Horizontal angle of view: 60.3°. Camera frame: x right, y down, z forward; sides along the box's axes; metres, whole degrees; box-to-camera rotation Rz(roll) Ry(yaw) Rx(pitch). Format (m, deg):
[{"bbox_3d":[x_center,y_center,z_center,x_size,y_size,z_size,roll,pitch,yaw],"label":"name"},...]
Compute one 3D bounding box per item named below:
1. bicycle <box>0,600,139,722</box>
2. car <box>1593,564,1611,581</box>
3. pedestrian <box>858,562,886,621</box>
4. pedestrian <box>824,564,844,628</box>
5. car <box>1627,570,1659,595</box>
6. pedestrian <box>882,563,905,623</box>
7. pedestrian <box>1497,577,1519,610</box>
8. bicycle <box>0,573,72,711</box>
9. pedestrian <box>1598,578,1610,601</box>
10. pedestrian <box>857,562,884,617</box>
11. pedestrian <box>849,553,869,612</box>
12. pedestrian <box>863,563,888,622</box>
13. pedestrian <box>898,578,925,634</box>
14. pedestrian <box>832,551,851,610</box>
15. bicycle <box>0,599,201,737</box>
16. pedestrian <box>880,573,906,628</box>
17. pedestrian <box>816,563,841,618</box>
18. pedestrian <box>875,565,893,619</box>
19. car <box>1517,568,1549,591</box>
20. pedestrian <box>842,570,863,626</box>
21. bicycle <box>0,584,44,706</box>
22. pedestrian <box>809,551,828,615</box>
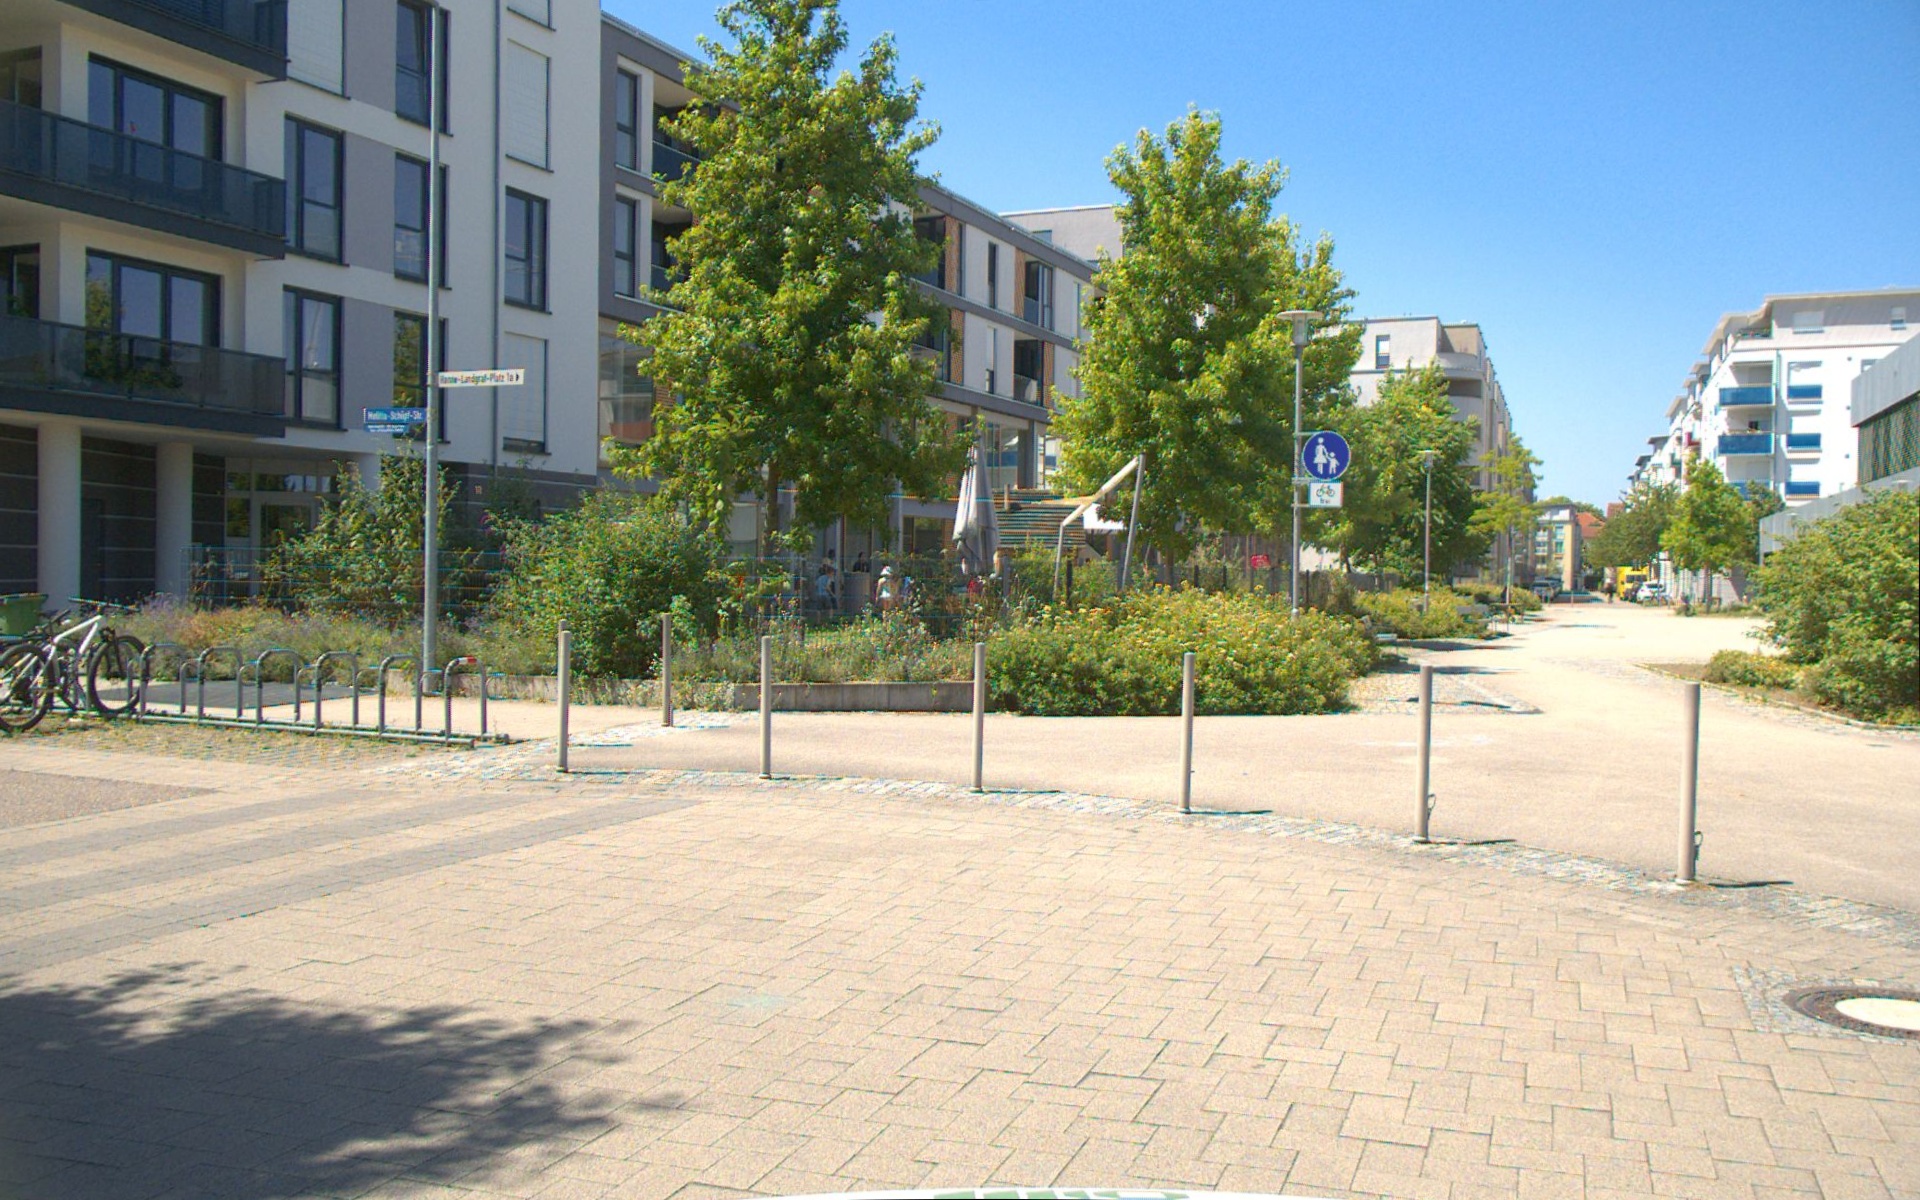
[{"bbox_3d":[-8.510,0.539,14.823,0.926,0.992,1.852,1,3,37],"label":"bicycle"},{"bbox_3d":[78.748,-3.354,202.869,1.952,2.049,4.001,1,1,20],"label":"car"},{"bbox_3d":[-1.586,-0.151,29.771,0.407,1.043,0.279,2,0,-34],"label":"pedestrian"},{"bbox_3d":[-3.462,-0.111,45.403,0.387,1.720,0.463,1,0,17],"label":"pedestrian"},{"bbox_3d":[46.679,-1.218,113.040,1.953,1.637,4.000,1,1,22],"label":"car"},{"bbox_3d":[-1.200,-0.132,30.038,0.281,1.072,0.288,2,1,43],"label":"pedestrian"},{"bbox_3d":[23.360,-0.282,70.473,0.830,1.371,0.696,1,1,21],"label":"pedestrian"},{"bbox_3d":[-9.098,0.390,15.021,0.543,1.244,1.855,1,2,26],"label":"bicycle"},{"bbox_3d":[42.891,-0.699,110.145,0.680,1.555,0.599,1,1,23],"label":"pedestrian"},{"bbox_3d":[-1.738,-0.205,32.107,0.407,1.043,0.311,1,0,-34],"label":"pedestrian"},{"bbox_3d":[-2.646,-0.468,43.241,0.389,1.534,0.461,1,0,-17],"label":"pedestrian"},{"bbox_3d":[-1.539,-0.141,30.152,0.316,1.072,0.288,2,1,43],"label":"pedestrian"},{"bbox_3d":[-0.873,0.111,29.837,0.380,0.988,0.289,1,1,36],"label":"pedestrian"},{"bbox_3d":[-3.089,-0.509,43.163,0.389,1.534,0.461,1,0,-17],"label":"pedestrian"},{"bbox_3d":[-7.671,0.546,14.408,0.854,1.020,2.035,1,2,12],"label":"bicycle"},{"bbox_3d":[-1.285,0.008,31.693,0.387,1.044,0.412,1,0,14],"label":"pedestrian"},{"bbox_3d":[-2.447,-0.173,30.766,0.361,1.003,0.412,1,0,9],"label":"pedestrian"},{"bbox_3d":[-1.532,-0.165,33.365,0.314,1.072,0.290,1,0,2],"label":"pedestrian"},{"bbox_3d":[42.902,-1.516,123.762,2.102,1.681,4.088,1,1,22],"label":"car"},{"bbox_3d":[-2.995,-0.055,46.121,0.456,1.534,0.393,1,0,-27],"label":"pedestrian"},{"bbox_3d":[-9.435,0.435,15.171,0.465,1.130,1.888,1,2,26],"label":"bicycle"},{"bbox_3d":[-3.870,-0.469,45.341,0.329,1.720,0.463,1,0,17],"label":"pedestrian"}]
